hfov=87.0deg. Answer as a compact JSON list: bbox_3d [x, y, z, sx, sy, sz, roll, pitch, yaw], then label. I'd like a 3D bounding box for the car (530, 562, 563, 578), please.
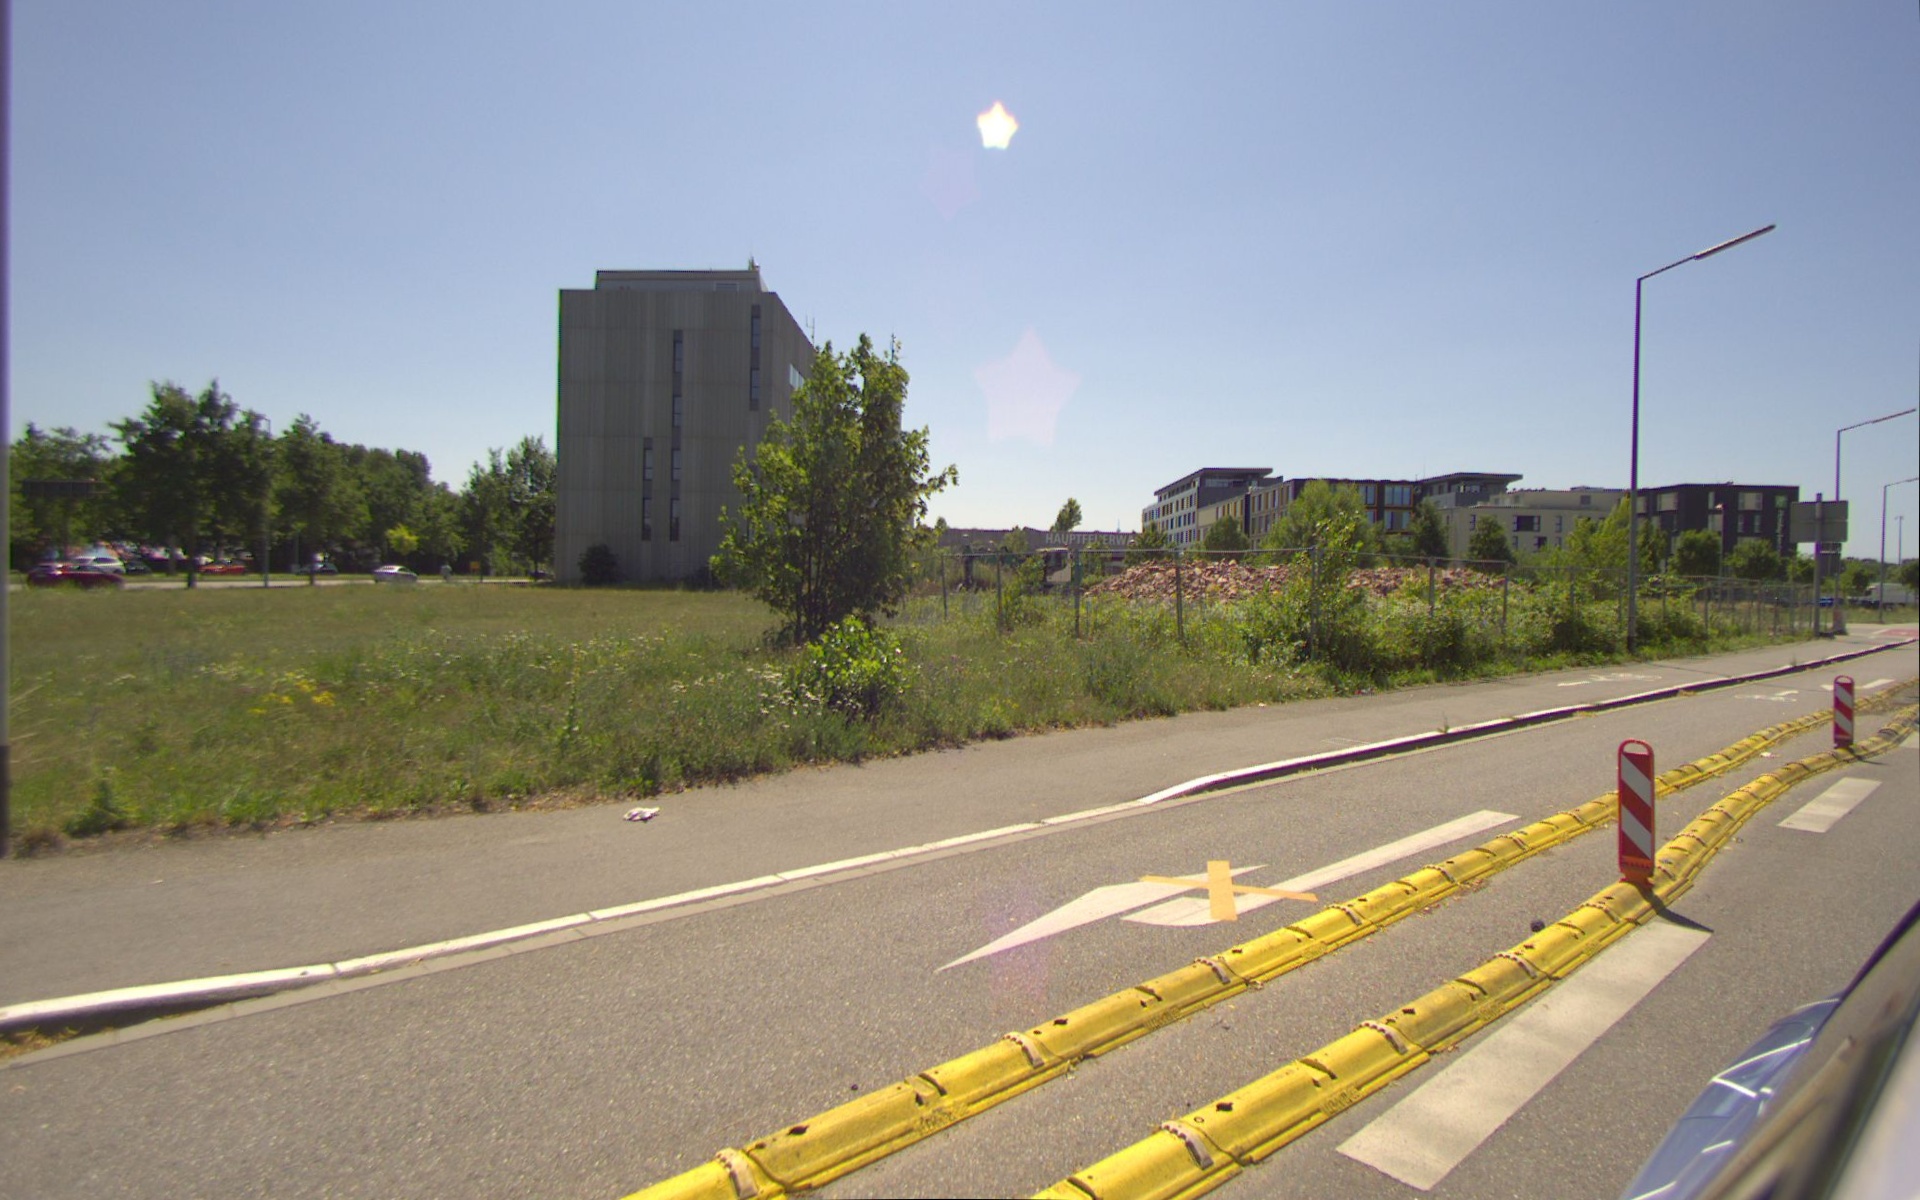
[{"bbox_3d":[-48.477,-3.545,118.833,1.960,1.757,5.334,0,0,-4],"label":"car"}]

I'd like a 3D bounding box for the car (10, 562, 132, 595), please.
[{"bbox_3d":[-43.249,-1.024,49.380,1.963,1.546,4.417,0,0,2],"label":"car"}]

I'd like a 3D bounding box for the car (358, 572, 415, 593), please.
[{"bbox_3d":[-43.571,-1.339,77.006,1.961,1.546,4.423,1,1,-3],"label":"car"}]

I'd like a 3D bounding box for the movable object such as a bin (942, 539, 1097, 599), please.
[{"bbox_3d":[3.144,-1.586,53.314,7.537,2.952,3.242,-1,0,-26],"label":"movable object such as a bin"}]

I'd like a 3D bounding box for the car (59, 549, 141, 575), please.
[{"bbox_3d":[-58.620,-2.558,69.105,1.814,1.612,4.444,0,0,1],"label":"car"}]

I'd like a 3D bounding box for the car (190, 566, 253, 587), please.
[{"bbox_3d":[-59.096,-1.875,81.095,1.814,1.612,4.415,0,0,1],"label":"car"}]

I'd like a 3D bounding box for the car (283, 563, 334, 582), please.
[{"bbox_3d":[-59.287,-2.473,92.166,1.814,1.612,4.443,0,0,1],"label":"car"}]

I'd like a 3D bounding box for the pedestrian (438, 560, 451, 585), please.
[{"bbox_3d":[-33.722,-1.807,66.146,0.652,1.611,0.557,0,0,-15],"label":"pedestrian"}]
